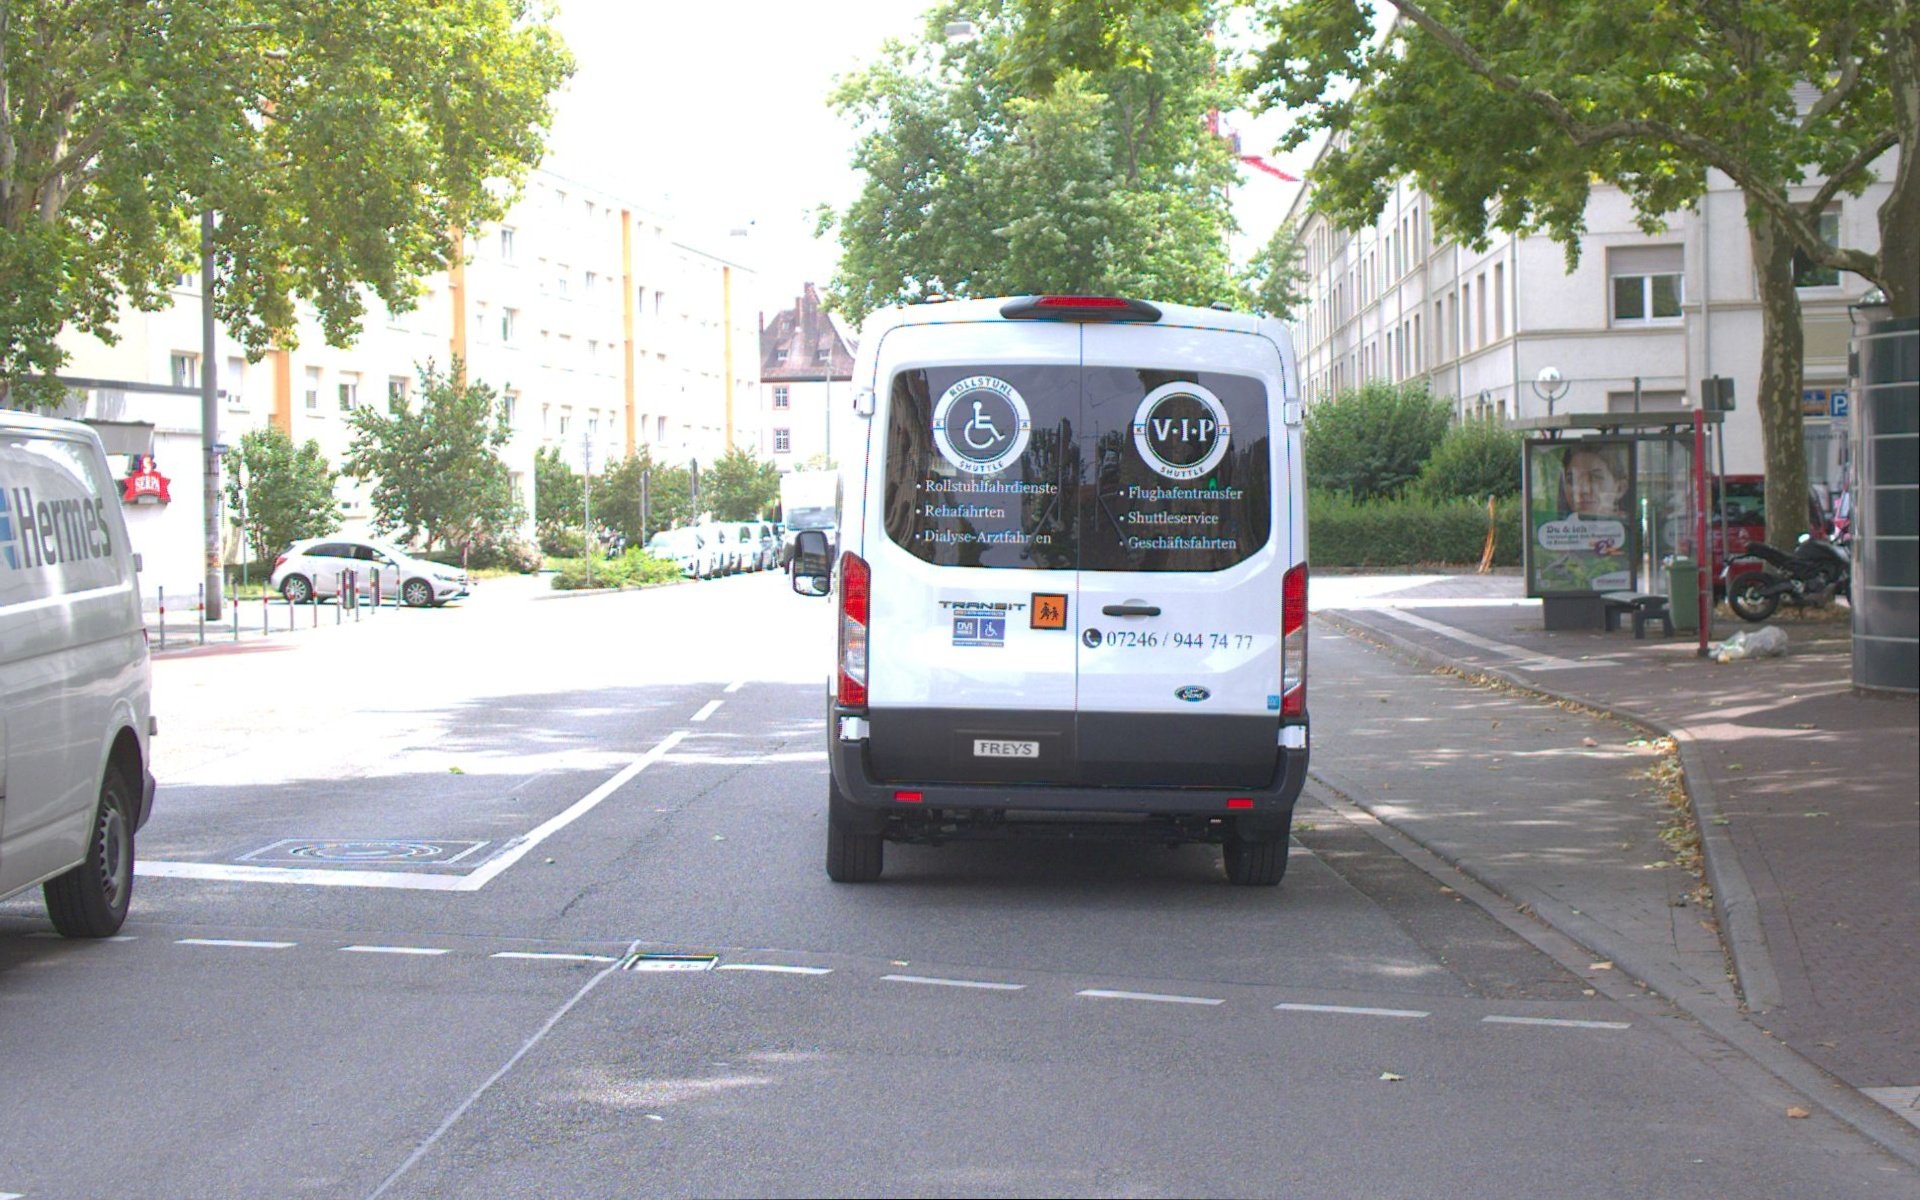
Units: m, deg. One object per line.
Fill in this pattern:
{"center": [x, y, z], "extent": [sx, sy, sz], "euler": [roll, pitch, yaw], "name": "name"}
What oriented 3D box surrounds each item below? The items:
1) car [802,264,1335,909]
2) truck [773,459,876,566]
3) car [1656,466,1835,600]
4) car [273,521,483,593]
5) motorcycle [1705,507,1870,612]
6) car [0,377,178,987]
{"center": [0.485, -0.100, 16.112], "extent": [2.070, 2.531, 4.635], "euler": [2, 1, 1], "name": "car"}
{"center": [-4.206, -2.735, 107.846], "extent": [2.541, 3.097, 7.020], "euler": [-3, 1, 2], "name": "truck"}
{"center": [10.700, -0.912, 46.630], "extent": [1.934, 1.700, 4.327], "euler": [-1, 1, 19], "name": "car"}
{"center": [-12.734, -0.947, 75.363], "extent": [4.172, 1.446, 1.849], "euler": [2, 0, 4], "name": "car"}
{"center": [9.981, -0.488, 41.493], "extent": [1.854, 1.218, 0.531], "euler": [-1, 2, -4], "name": "motorcycle"}
{"center": [-4.009, 0.254, 11.159], "extent": [1.923, 1.930, 4.948], "euler": [0, 2, -2], "name": "car"}
